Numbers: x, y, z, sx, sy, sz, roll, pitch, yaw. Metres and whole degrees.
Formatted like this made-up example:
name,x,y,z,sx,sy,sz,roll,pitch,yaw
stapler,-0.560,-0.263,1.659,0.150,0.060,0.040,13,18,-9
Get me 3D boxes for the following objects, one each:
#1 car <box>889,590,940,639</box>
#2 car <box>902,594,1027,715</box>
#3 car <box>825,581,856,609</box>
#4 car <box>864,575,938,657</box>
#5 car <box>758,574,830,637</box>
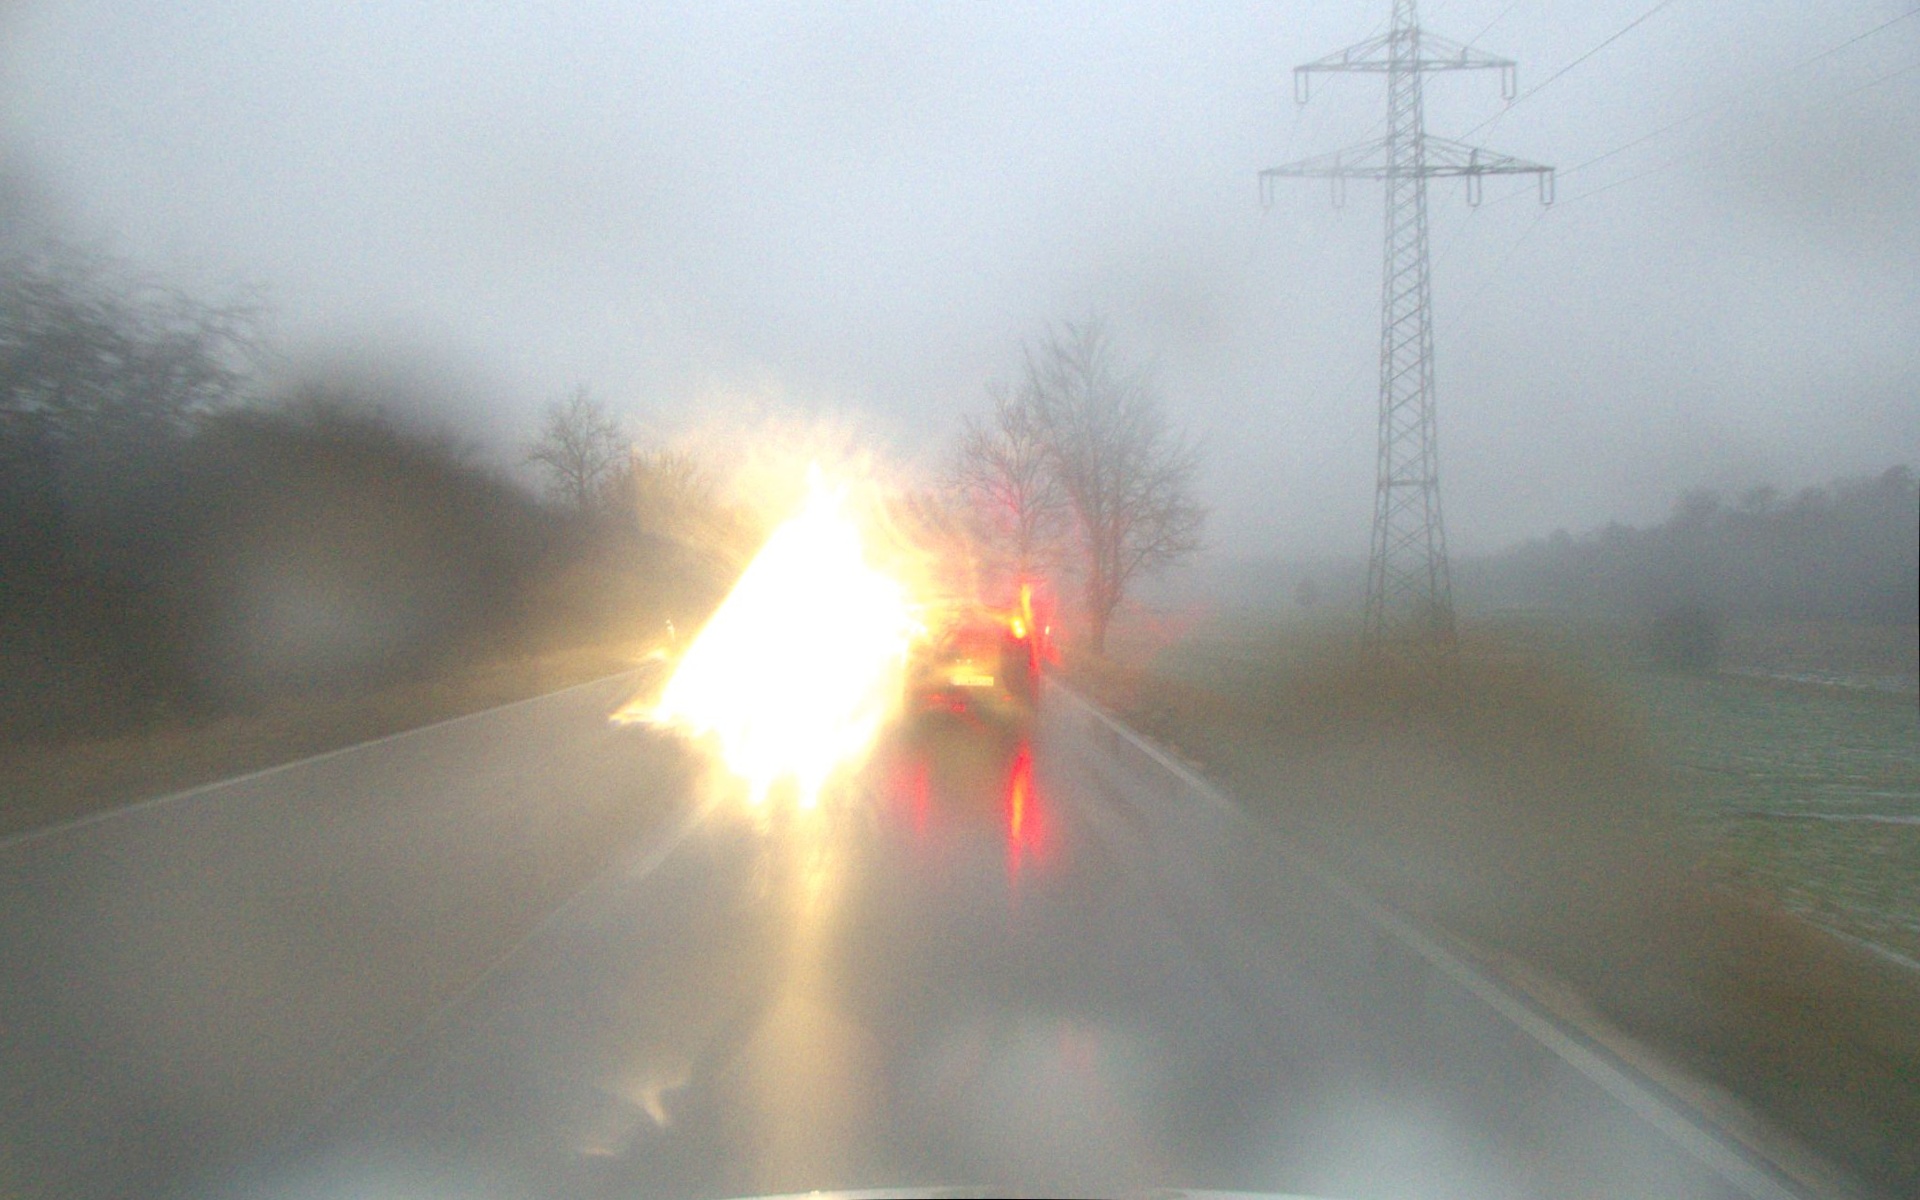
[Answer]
name,x,y,z,sx,sy,sz,roll,pitch,yaw
car,-1.723,0.525,62.335,1.825,1.729,4.466,1,0,-2
car,0.050,0.645,21.339,1.469,1.423,3.199,1,0,0
car,-7.624,-0.322,105.824,1.825,1.729,4.466,1,0,-2
car,-1.519,0.411,43.996,1.814,2.049,4.000,1,0,0
car,-4.893,0.133,49.244,1.749,1.781,4.257,0,0,-1
